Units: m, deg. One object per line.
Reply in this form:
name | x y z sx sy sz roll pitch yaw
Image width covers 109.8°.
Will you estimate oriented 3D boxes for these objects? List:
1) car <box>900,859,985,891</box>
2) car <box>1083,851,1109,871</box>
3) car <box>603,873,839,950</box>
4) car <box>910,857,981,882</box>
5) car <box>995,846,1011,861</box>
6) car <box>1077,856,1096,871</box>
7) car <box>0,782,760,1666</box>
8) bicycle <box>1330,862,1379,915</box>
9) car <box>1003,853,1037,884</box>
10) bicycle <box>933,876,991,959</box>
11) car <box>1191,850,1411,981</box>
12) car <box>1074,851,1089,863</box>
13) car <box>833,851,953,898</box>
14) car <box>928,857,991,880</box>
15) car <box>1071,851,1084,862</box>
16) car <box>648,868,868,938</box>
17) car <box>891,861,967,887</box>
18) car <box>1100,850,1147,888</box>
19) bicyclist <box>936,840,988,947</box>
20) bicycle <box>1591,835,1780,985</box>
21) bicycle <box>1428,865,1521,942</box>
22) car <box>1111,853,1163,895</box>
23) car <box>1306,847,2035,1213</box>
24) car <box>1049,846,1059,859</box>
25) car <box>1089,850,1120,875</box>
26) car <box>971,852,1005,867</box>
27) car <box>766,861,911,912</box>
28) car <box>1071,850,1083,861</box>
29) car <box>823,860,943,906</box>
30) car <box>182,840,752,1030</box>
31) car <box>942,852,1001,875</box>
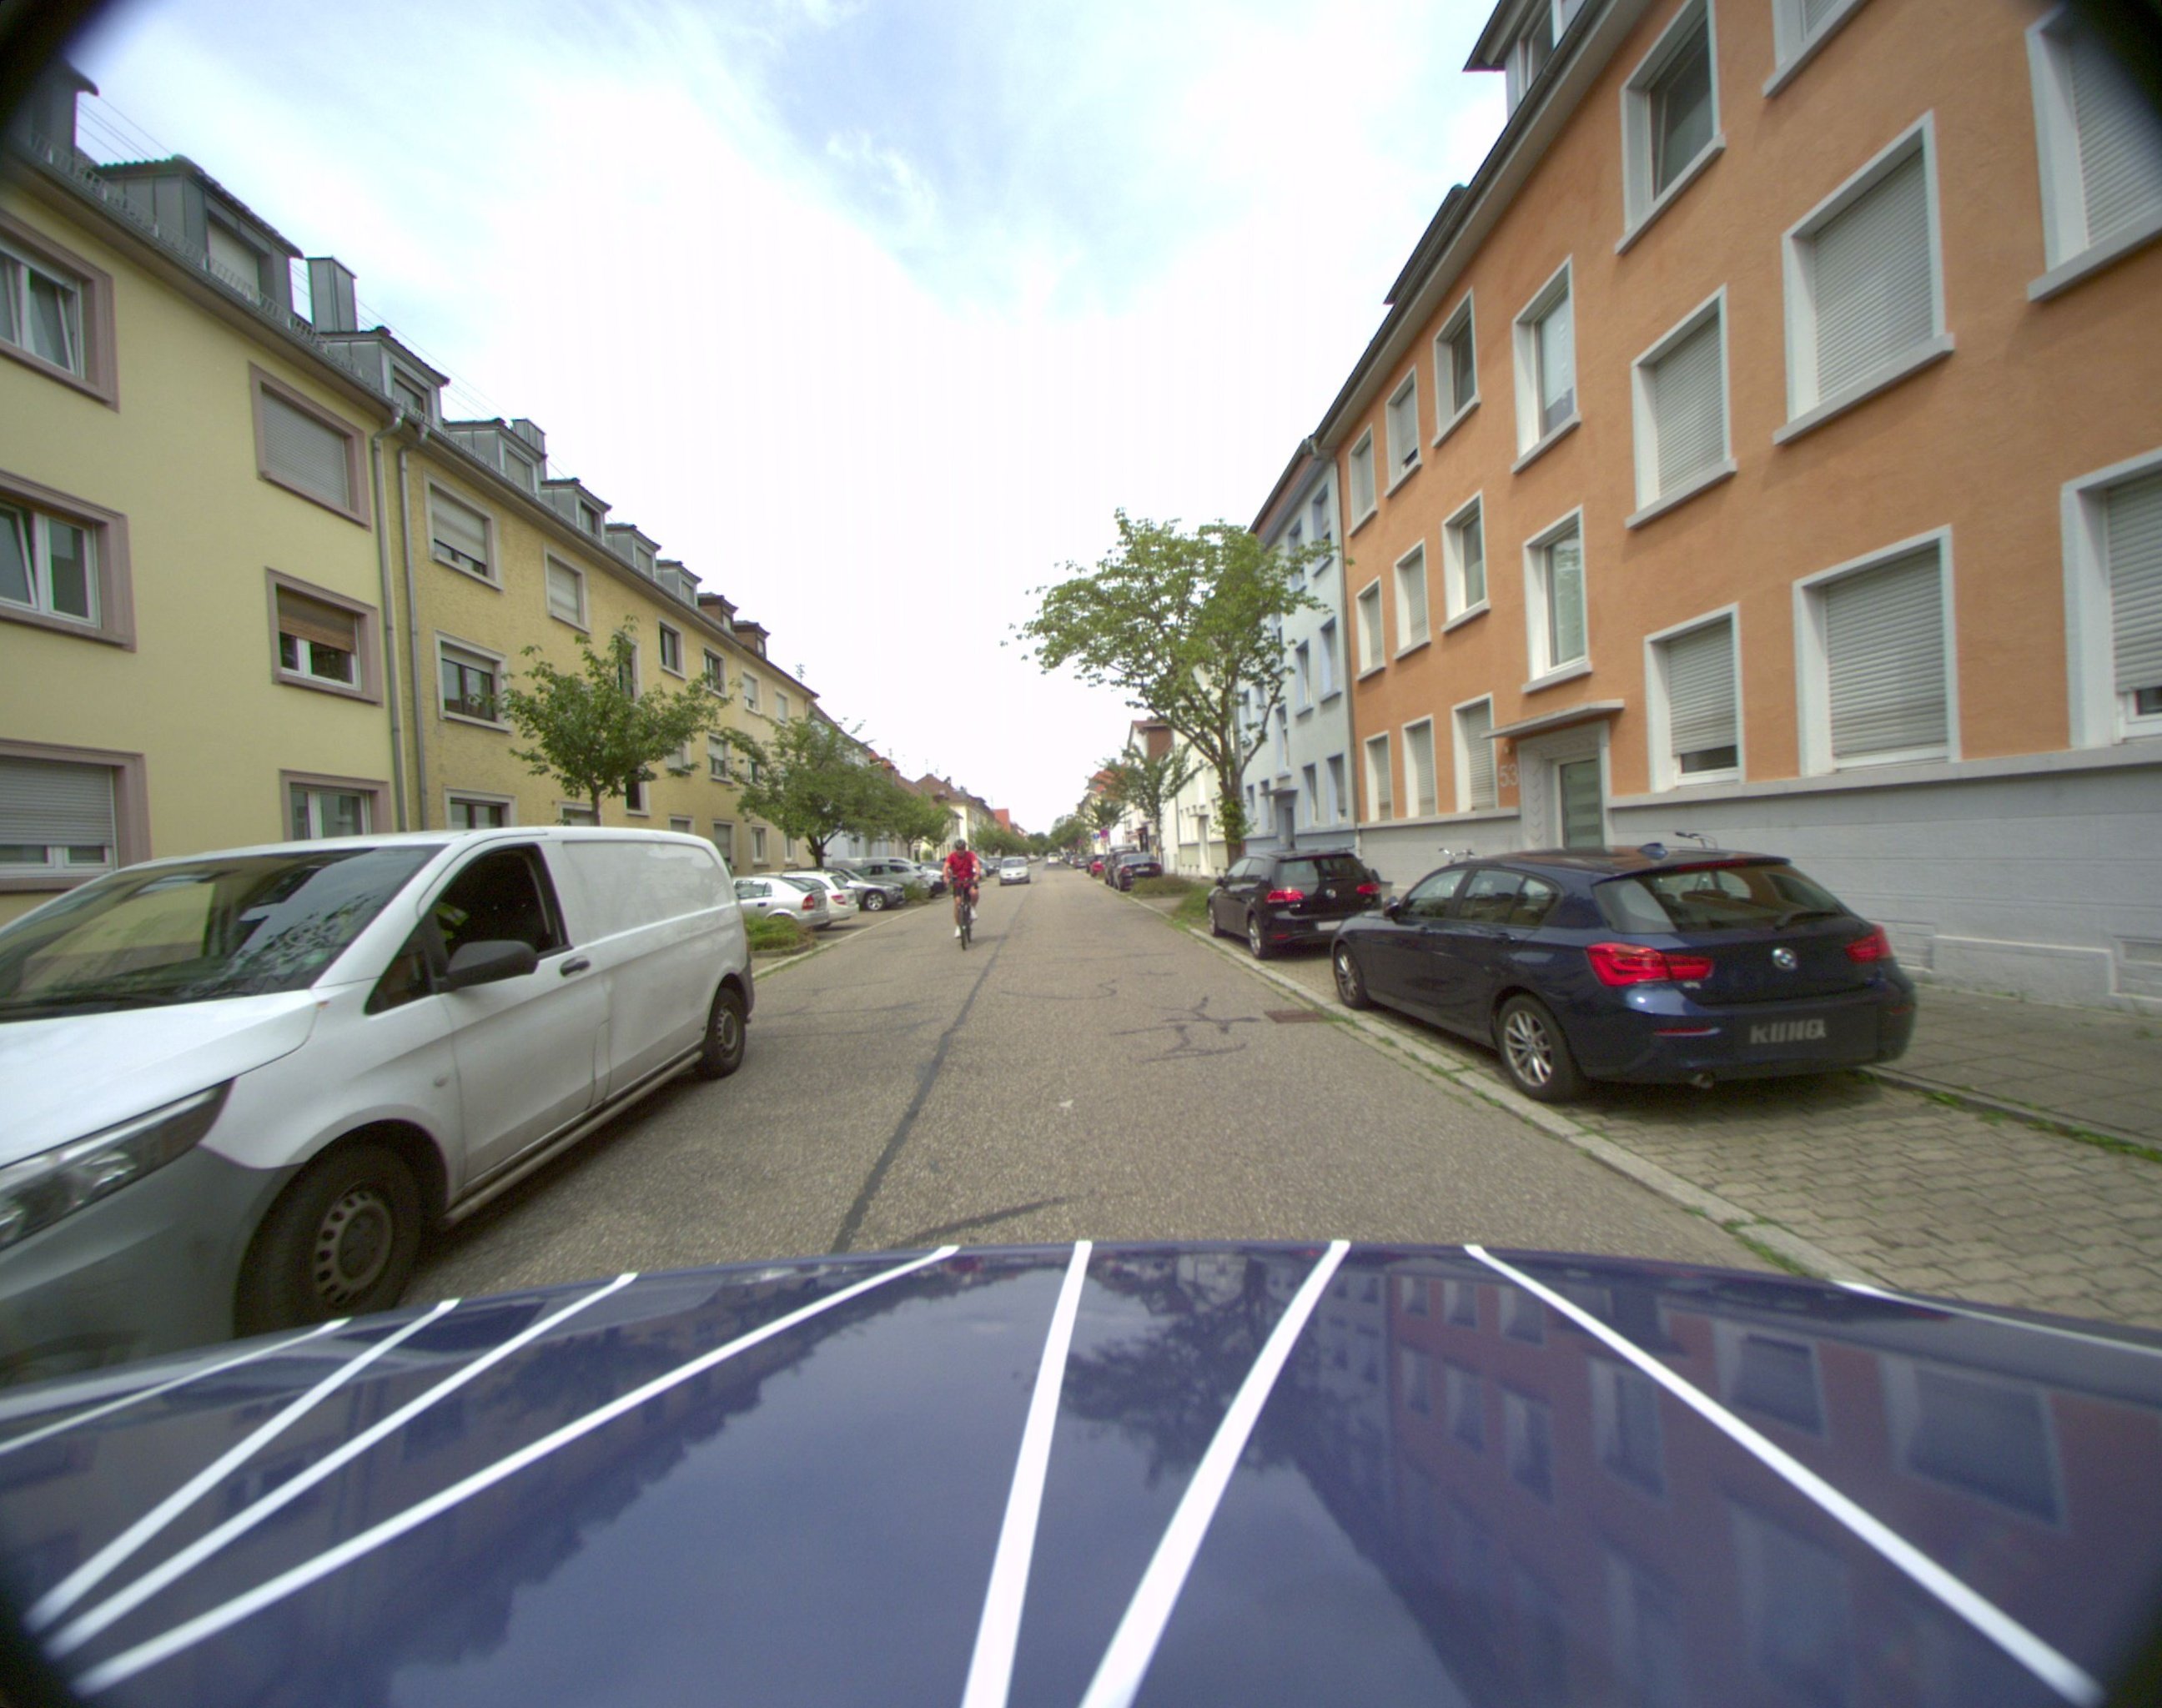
car | -7.150 1.069 39.422 4.120 1.528 1.710 -1 1 -3
car | 1.162 0.521 60.772 1.712 1.477 3.441 -1 1 -4
car | -7.482 1.162 16.146 4.104 1.407 1.849 -1 1 -4
car | -9.226 1.047 51.879 4.402 1.603 1.871 -1 1 3
car | -9.375 -0.039 91.893 1.646 1.666 3.442 -3 0 -3
car | 0.564 0.986 78.660 1.712 1.439 3.441 -1 1 -4
car | -3.530 0.835 3.778 1.999 1.904 4.701 -4 1 -4
bicycle | 5.604 0.680 15.647 0.368 0.990 1.569 -2 1 -2
car | -3.624 0.830 45.569 1.788 1.595 4.834 -3 1 -2
bicycle | -2.044 1.058 13.296 0.693 1.221 1.936 -3 1 -2
car | 3.072 0.756 11.577 1.841 1.475 4.091 -4 1 -4
car | 0.002 0.348 93.449 1.711 1.495 3.442 -1 1 -2
car | -8.090 0.859 33.012 4.751 1.899 1.850 -1 1 -2
car | -8.932 1.054 56.142 4.404 1.528 1.870 -1 1 -2
car | -0.524 0.306 108.291 1.711 1.495 3.442 -1 1 -2
car | -7.730 1.141 18.558 4.560 1.501 1.849 -1 1 -4
car | -9.380 1.234 47.200 4.405 1.491 1.710 -1 1 -3
car | 2.001 0.685 37.011 1.697 1.573 4.247 -4 1 -4
bicyclist | -2.064 0.660 13.310 0.694 1.760 0.986 -3 1 -2
bicycle | 5.941 0.484 7.611 0.430 1.326 1.811 -1 1 -1
bicycle | 5.832 0.691 11.366 0.368 1.000 1.867 -1 1 -2
car | 2.204 0.754 31.033 1.706 1.533 4.248 -1 1 -1
car | 3.335 0.771 5.516 1.841 1.475 4.119 -5 1 -4
car | -4.683 -0.248 131.686 1.757 2.098 3.620 -1 1 -2
car | 1.551 0.555 51.382 1.712 1.591 4.114 -1 1 -4
car | -9.654 0.571 79.178 3.442 1.438 1.646 -3 1 -5
car | -8.154 1.070 25.882 4.319 1.589 1.850 -1 1 -2
car | -0.613 0.227 116.130 1.626 1.495 3.442 -1 1 -2
car | -7.809 1.142 30.316 4.319 1.674 1.849 -1 2 -2
car | -7.227 0.864 9.568 5.245 2.012 2.072 -1 1 -6
car | -9.224 0.780 64.354 4.720 1.817 1.870 -1 1 -2
